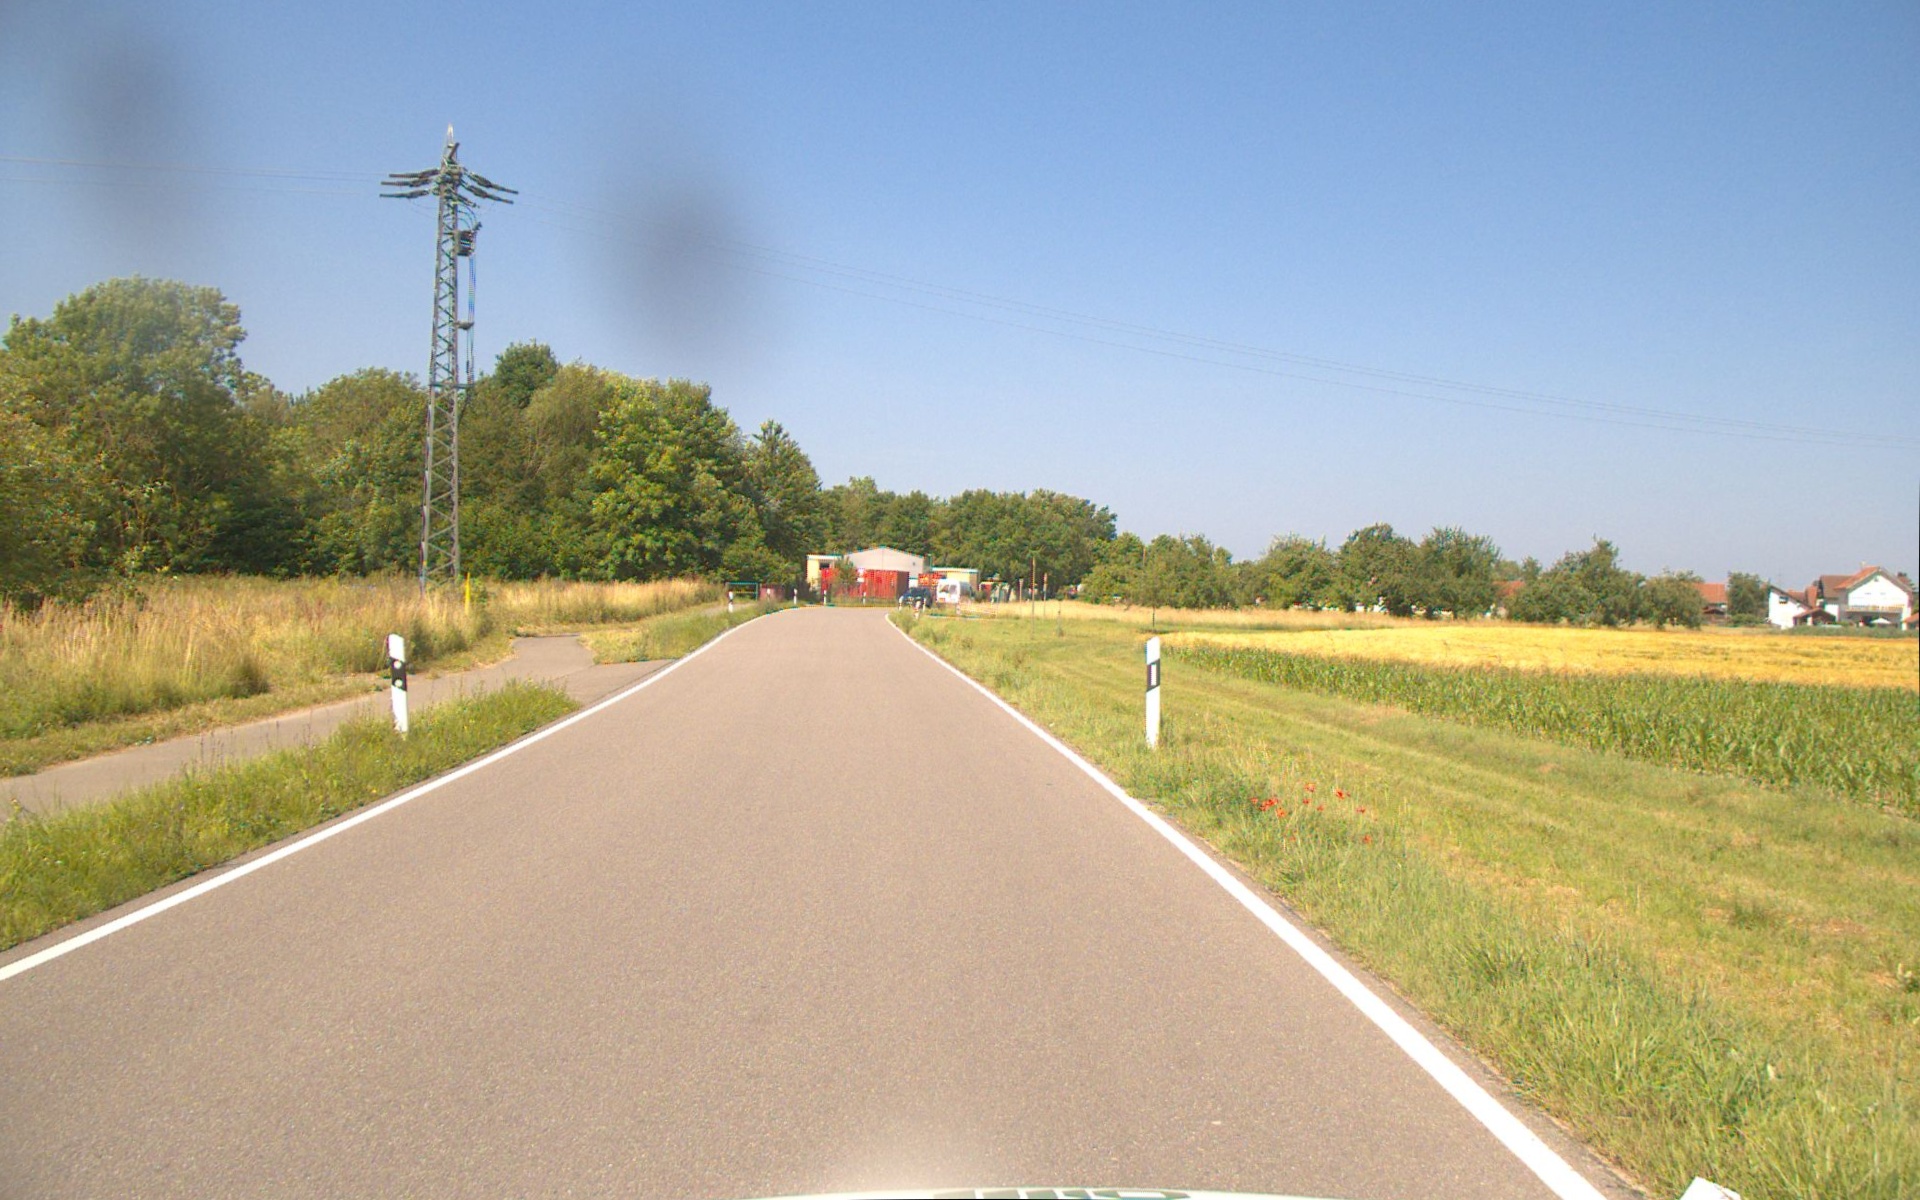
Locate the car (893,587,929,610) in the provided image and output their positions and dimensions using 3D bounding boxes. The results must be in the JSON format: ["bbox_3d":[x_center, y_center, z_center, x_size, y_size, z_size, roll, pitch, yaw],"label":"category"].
[{"bbox_3d":[-4.007,-0.092,135.073,1.826,1.783,4.300,2,0,14],"label":"car"}]

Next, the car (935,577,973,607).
[{"bbox_3d":[-0.479,-0.609,134.118,1.951,2.305,4.730,2,0,14],"label":"car"}]
